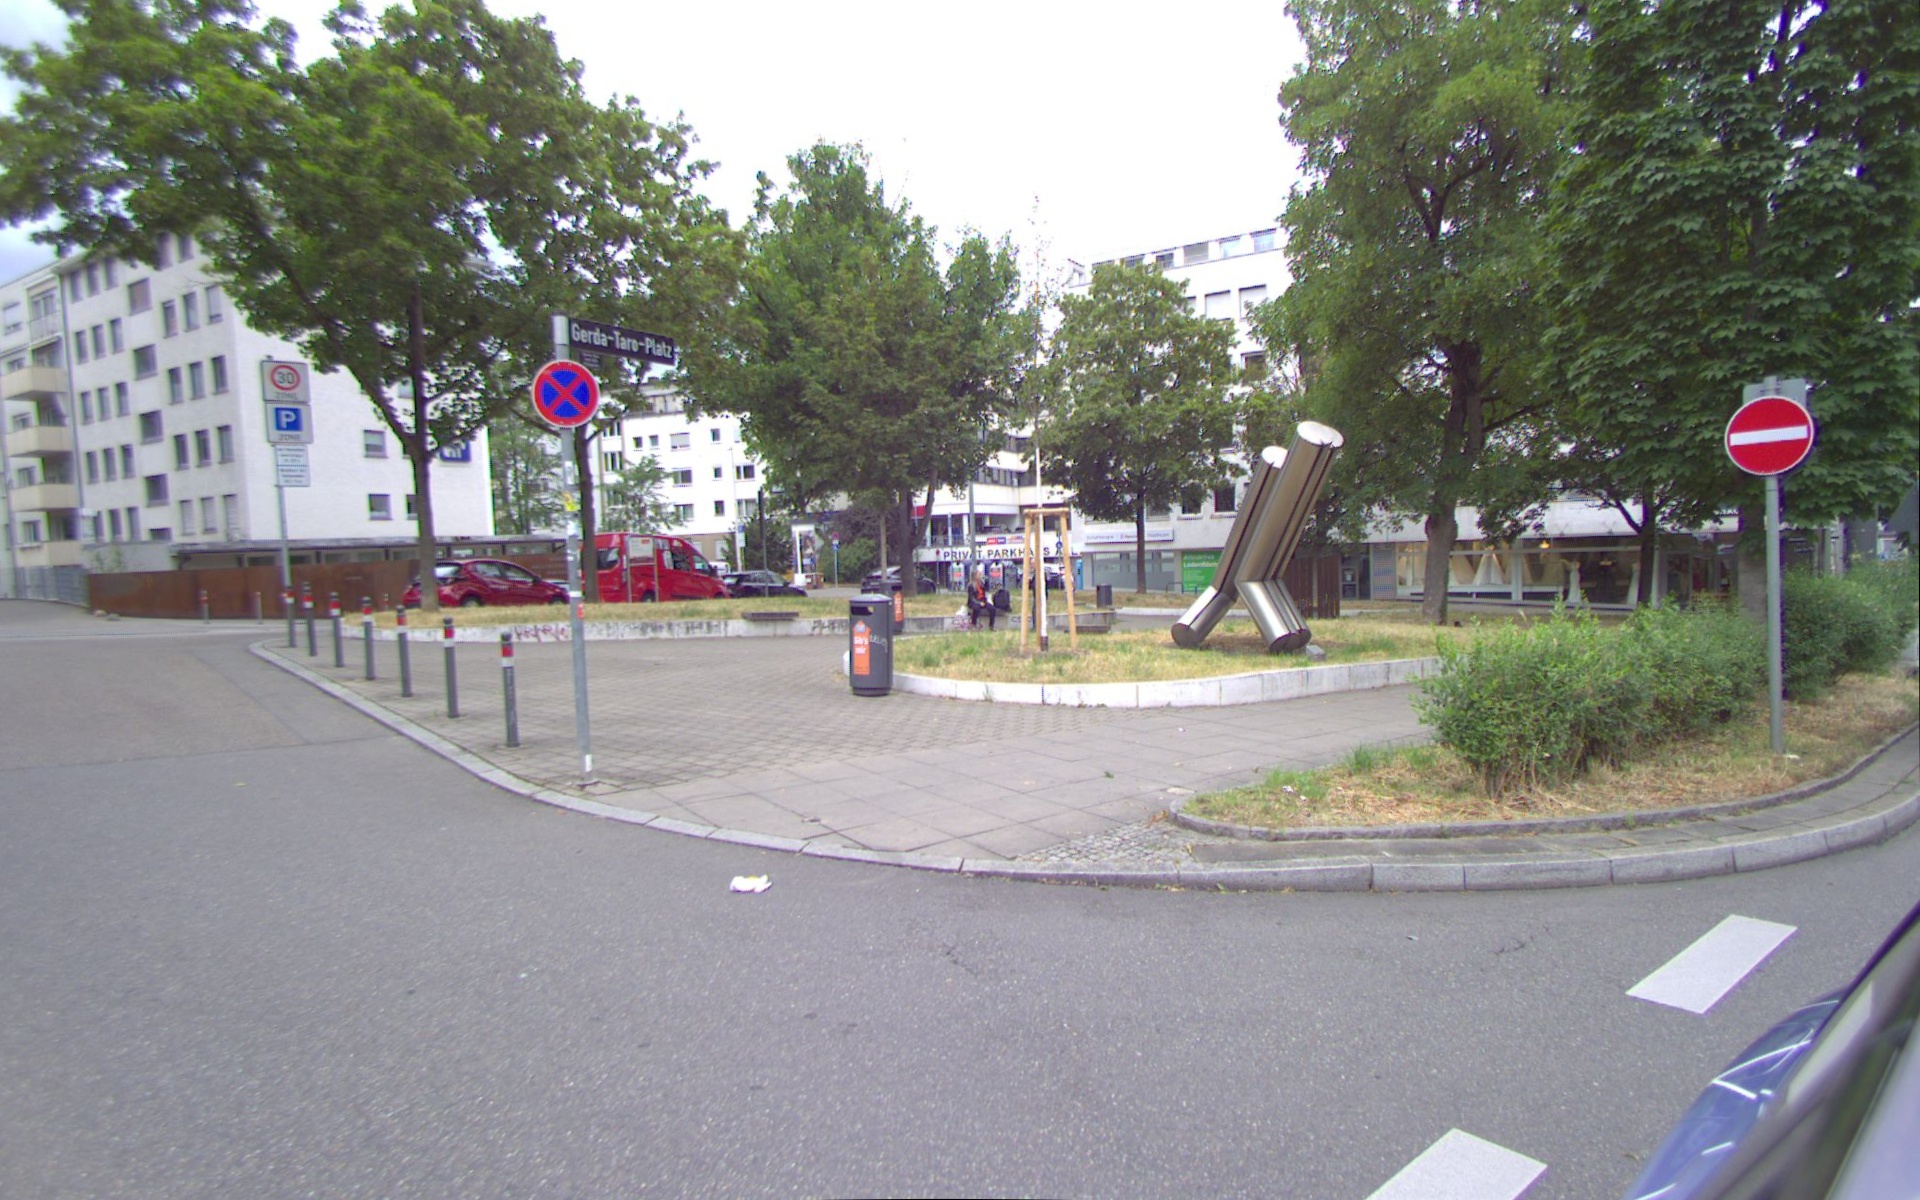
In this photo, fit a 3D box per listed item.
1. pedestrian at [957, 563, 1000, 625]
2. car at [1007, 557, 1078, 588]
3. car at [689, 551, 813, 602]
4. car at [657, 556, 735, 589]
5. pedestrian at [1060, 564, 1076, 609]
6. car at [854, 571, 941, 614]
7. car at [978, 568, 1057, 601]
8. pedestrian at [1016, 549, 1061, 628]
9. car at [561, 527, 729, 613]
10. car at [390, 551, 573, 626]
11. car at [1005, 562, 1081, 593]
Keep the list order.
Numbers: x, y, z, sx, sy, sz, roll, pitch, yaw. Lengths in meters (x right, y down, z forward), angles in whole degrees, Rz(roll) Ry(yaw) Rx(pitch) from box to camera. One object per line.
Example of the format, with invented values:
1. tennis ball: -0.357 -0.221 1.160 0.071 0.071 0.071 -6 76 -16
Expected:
1. pedestrian: 0.397 -0.139 21.693 0.671 1.308 0.657 0 1 -31
2. car: 4.910 -1.630 60.603 3.978 1.708 1.666 -2 0 38
3. car: -6.894 -0.781 33.934 1.977 1.584 4.382 1 1 23
4. car: -16.197 -1.695 61.977 4.760 1.969 2.198 2 2 39
5. pedestrian: 3.745 -0.466 35.054 0.520 1.552 0.672 0 1 10
6. car: -2.699 -0.370 44.924 1.977 1.762 4.748 1 1 23
7. car: 3.150 -0.887 56.050 3.982 1.738 1.971 2 2 40
8. pedestrian: 1.664 -0.251 21.428 0.719 1.622 0.786 1 1 26
9. car: -8.889 -0.859 29.059 2.101 2.241 4.860 1 1 21
10. car: -11.016 -0.295 23.552 1.729 1.584 3.689 1 1 22
11. car: 4.720 -1.311 57.985 3.982 1.738 1.971 2 2 40
